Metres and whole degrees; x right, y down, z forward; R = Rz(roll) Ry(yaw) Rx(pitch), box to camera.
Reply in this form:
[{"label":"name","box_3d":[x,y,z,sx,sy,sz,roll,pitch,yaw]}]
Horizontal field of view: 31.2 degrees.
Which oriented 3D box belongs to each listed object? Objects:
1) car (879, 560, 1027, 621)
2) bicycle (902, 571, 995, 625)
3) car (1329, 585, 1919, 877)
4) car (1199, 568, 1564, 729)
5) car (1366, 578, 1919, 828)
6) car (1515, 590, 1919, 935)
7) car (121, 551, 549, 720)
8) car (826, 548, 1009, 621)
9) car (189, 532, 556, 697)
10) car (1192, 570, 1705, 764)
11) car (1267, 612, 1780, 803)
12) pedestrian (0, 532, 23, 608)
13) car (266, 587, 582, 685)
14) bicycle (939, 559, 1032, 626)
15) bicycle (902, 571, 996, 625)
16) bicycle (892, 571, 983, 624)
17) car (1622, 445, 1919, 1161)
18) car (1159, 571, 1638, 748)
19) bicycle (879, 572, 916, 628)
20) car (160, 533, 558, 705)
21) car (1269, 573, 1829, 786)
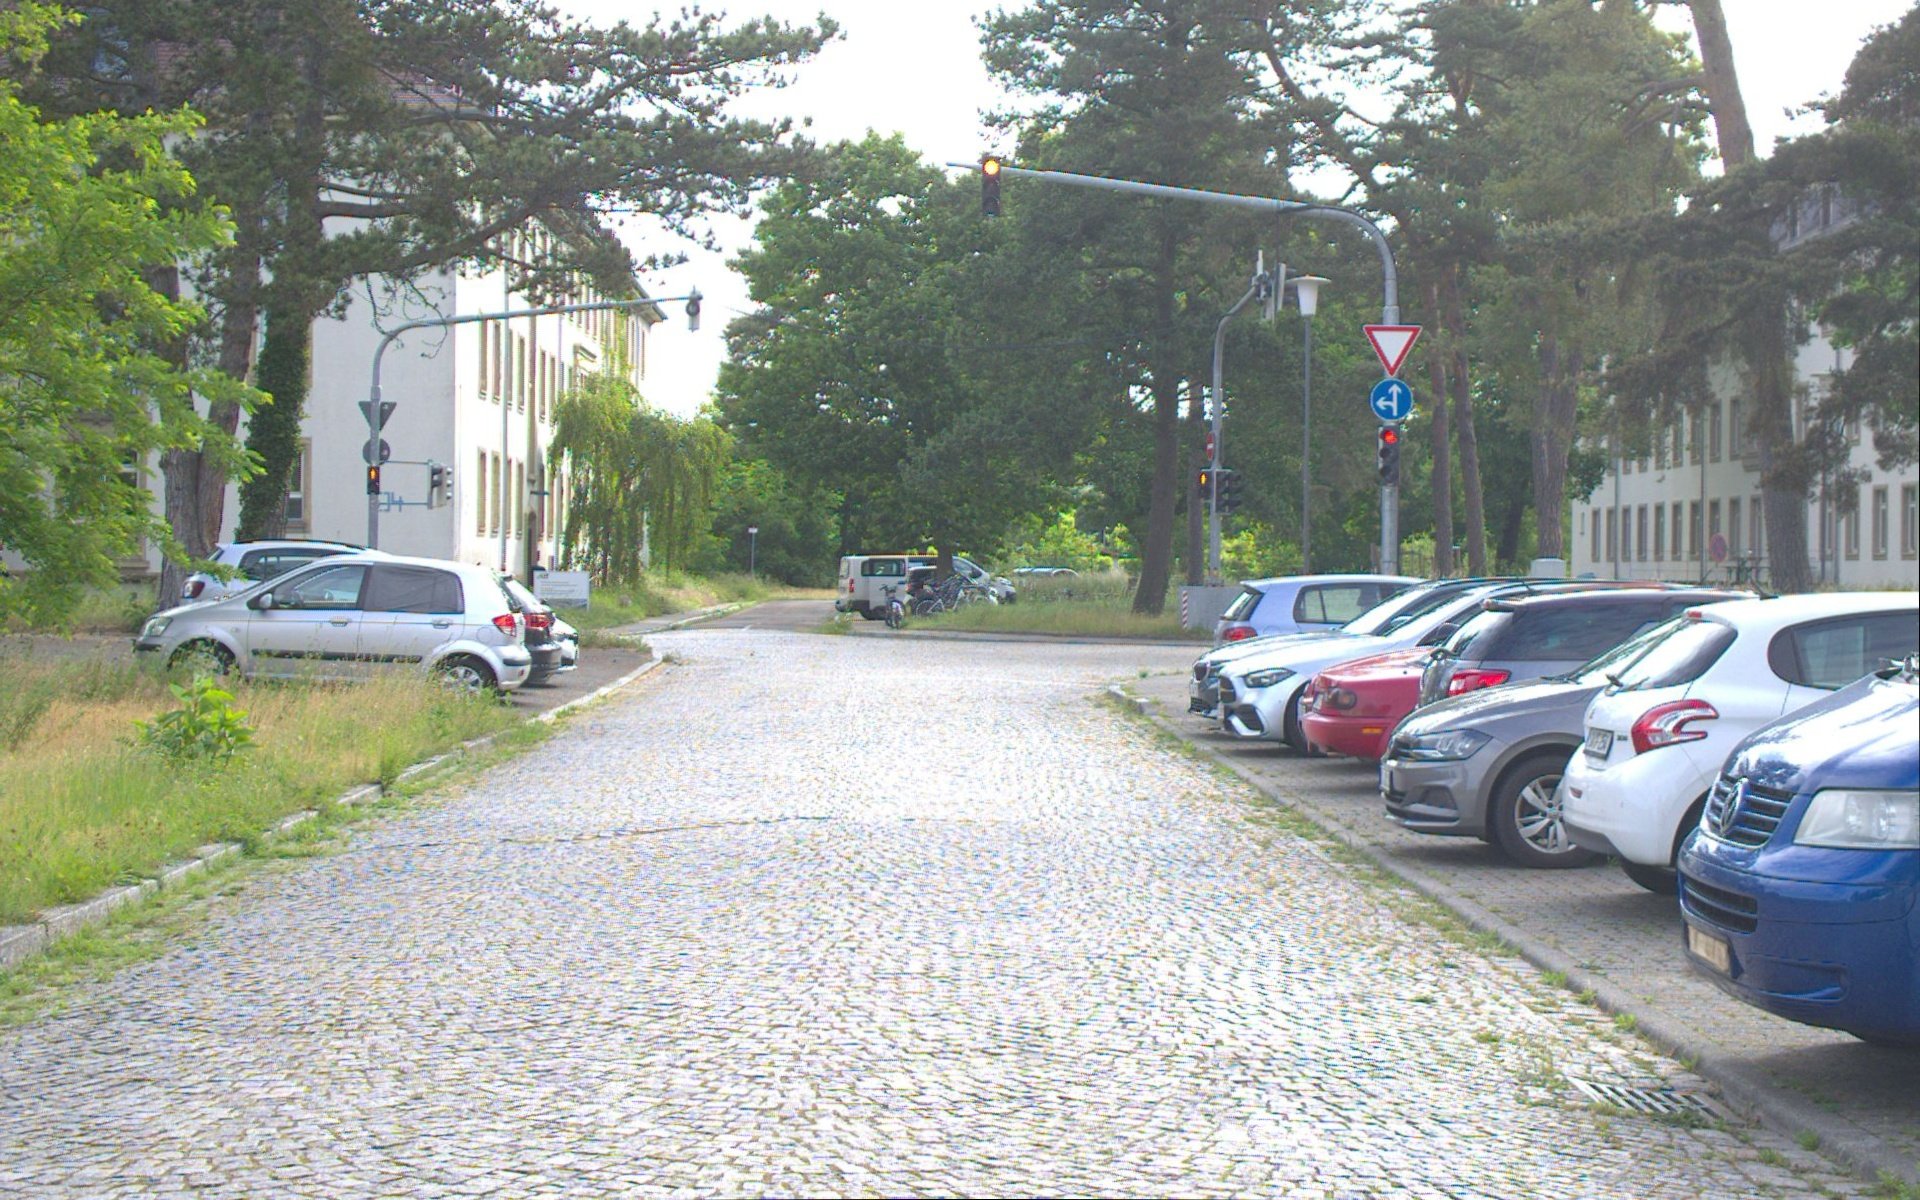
[{"label":"car","box_3d":[-0.218,-0.289,98.049,3.986,1.638,2.000,1,1,-7]},{"label":"bicycle","box_3d":[-0.291,-0.049,84.087,2.160,1.264,0.812,1,1,-7]},{"label":"car","box_3d":[4.045,0.706,19.123,3.597,1.501,1.665,1,1,-12]},{"label":"car","box_3d":[4.213,0.478,34.587,3.388,1.538,1.391,1,1,-7]},{"label":"car","box_3d":[4.450,0.641,22.008,3.291,1.499,1.665,1,1,-12]},{"label":"car","box_3d":[4.441,0.740,16.208,3.292,1.499,1.664,1,1,-3]},{"label":"car","box_3d":[-6.037,0.326,33.607,3.986,1.546,2.000,1,1,-7]},{"label":"car","box_3d":[-1.258,-0.456,101.309,5.049,2.007,2.001,1,1,-11]},{"label":"car","box_3d":[-6.637,0.152,39.096,3.986,1.744,1.927,1,1,-8]},{"label":"car","box_3d":[4.105,0.556,29.199,3.986,1.538,1.664,1,1,-7]},{"label":"car","box_3d":[4.003,0.755,24.718,3.291,1.263,1.664,1,1,-7]},{"label":"pedestrian","box_3d":[-18.952,-0.597,67.363,0.898,1.493,0.904,1,0,0]},{"label":"car","box_3d":[-6.411,0.424,41.362,3.670,1.090,1.647,1,1,-7]},{"label":"bicycle","box_3d":[0.627,-0.186,84.811,2.160,1.610,0.812,1,0,-7]},{"label":"bicycle","box_3d":[-0.273,-0.049,83.500,2.160,1.264,0.812,1,1,-7]},{"label":"bicycle","box_3d":[-0.557,-0.056,85.296,2.160,1.264,0.812,1,1,-7]},{"label":"car","box_3d":[4.679,0.627,10.777,4.781,2.033,1.738,2,0,-3]},{"label":"car","box_3d":[4.044,0.537,32.014,4.122,1.538,1.664,1,1,-7]},{"label":"bicycle","box_3d":[-1.440,0.000,79.721,0.810,1.264,1.973,1,1,0]},{"label":"car","box_3d":[-6.245,0.182,36.091,3.986,1.700,2.000,1,1,-7]},{"label":"car","box_3d":[4.575,0.605,26.974,3.986,1.538,1.664,1,1,-7]}]
